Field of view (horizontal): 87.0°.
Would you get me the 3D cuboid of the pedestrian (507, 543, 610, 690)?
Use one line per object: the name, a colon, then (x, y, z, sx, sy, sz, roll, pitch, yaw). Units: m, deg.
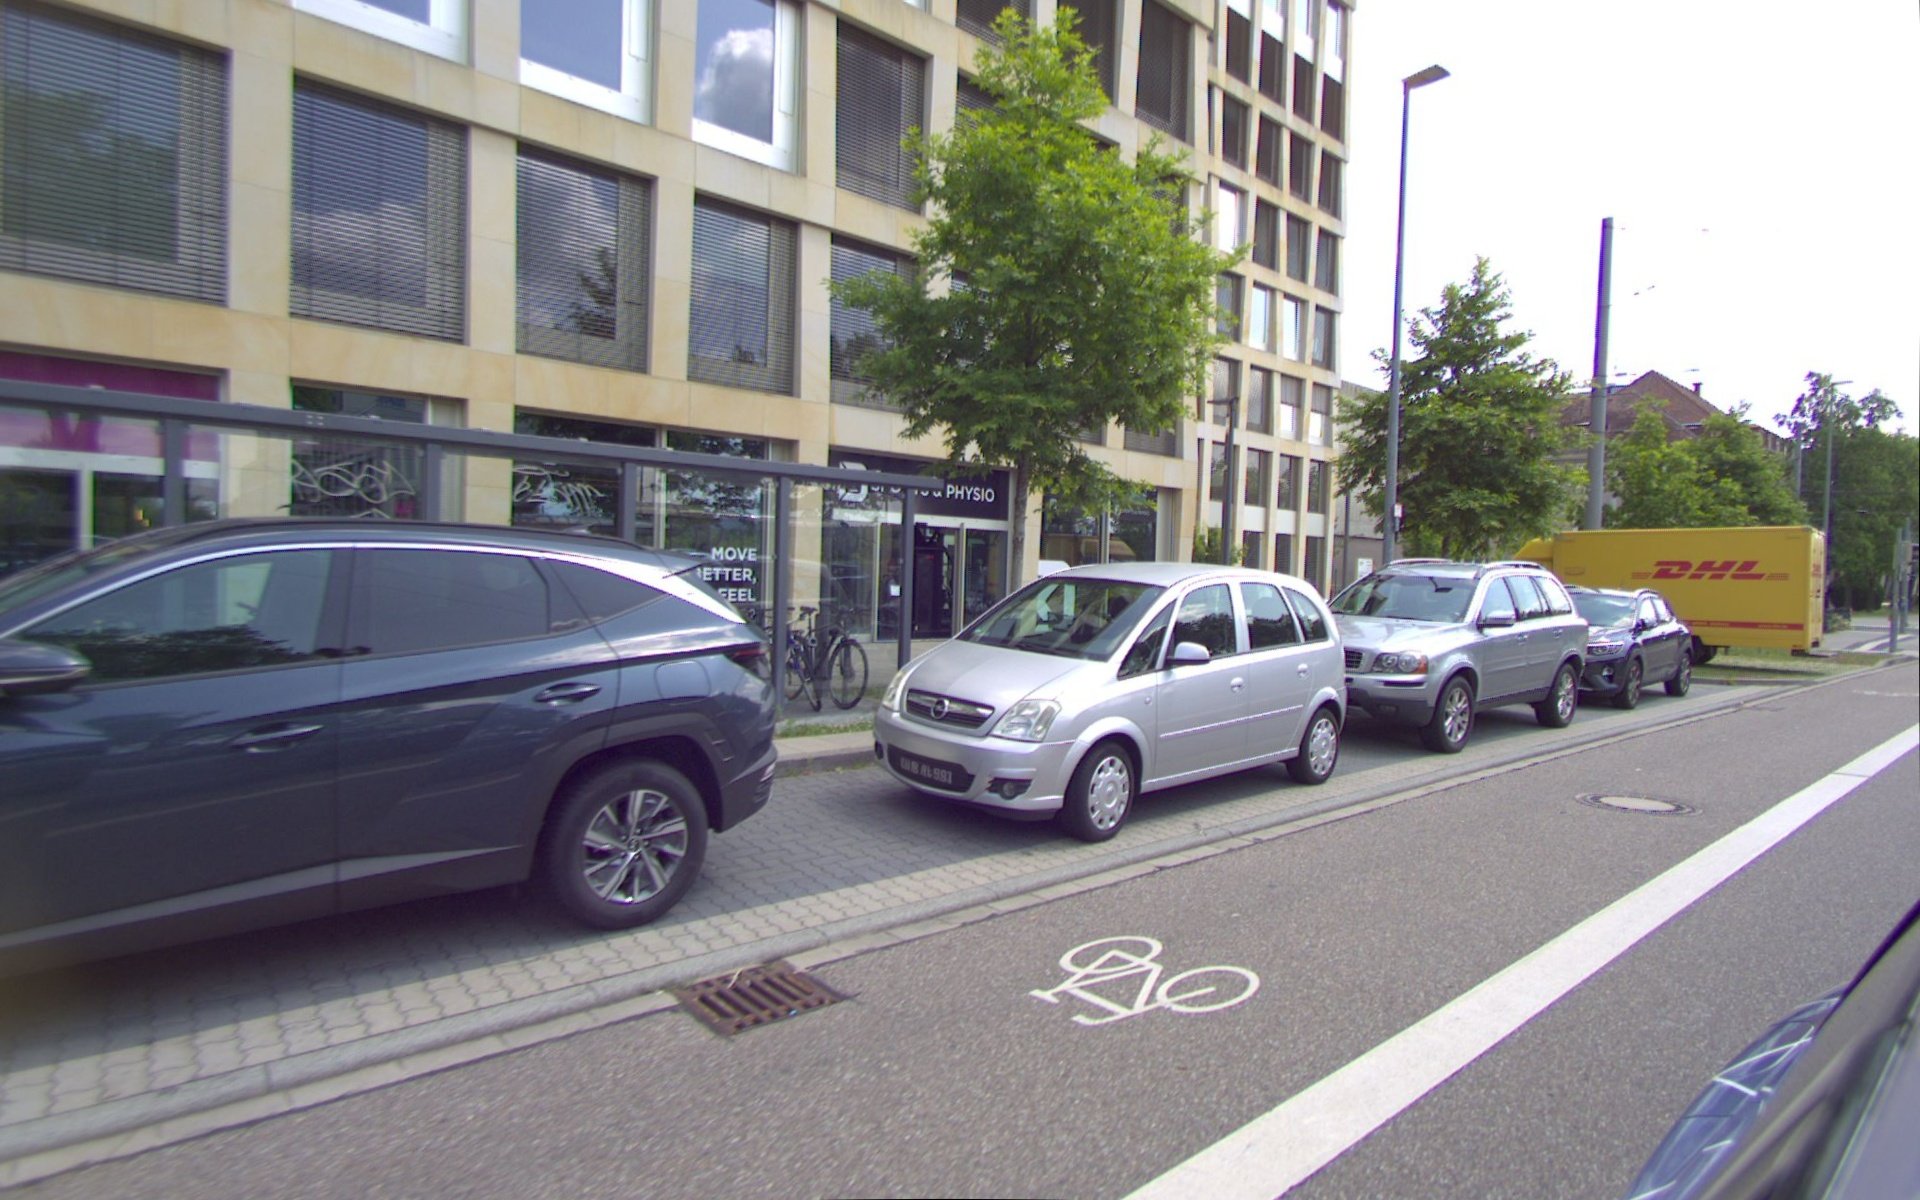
pedestrian: (-4.506, 0.169, 11.361, 0.889, 1.570, 0.638, 1, 2, -41)

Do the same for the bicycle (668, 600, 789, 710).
bicycle: (-2.492, 0.542, 10.749, 0.432, 1.070, 1.844, 0, 0, -41)

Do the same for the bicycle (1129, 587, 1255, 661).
bicycle: (3.309, 0.354, 14.571, 0.432, 1.007, 1.843, 0, -2, -41)

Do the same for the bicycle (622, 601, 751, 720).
bicycle: (-2.728, 0.545, 9.975, 0.468, 1.070, 1.844, 0, 0, -41)

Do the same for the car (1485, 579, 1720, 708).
car: (9.110, 0.514, 14.232, 3.997, 1.523, 1.695, 0, 2, -41)

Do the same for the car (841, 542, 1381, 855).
car: (1.229, 0.482, 7.207, 3.792, 1.639, 1.724, 0, 2, -41)

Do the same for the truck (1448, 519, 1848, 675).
truck: (14.728, -0.231, 22.158, 2.413, 2.902, 6.817, 0, 3, -42)

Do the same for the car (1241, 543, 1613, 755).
car: (5.136, 0.376, 10.776, 4.755, 1.789, 1.772, 0, 2, -41)

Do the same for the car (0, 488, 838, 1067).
car: (-2.830, 0.454, 3.935, 4.448, 1.660, 1.725, 0, 4, -41)

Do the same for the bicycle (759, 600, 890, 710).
bicycle: (-1.472, 0.538, 10.752, 0.432, 1.070, 1.844, 0, 0, -41)

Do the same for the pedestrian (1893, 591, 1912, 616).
pedestrian: (62.888, 0.224, 67.548, 0.611, 1.627, 0.626, 1, 3, -20)
